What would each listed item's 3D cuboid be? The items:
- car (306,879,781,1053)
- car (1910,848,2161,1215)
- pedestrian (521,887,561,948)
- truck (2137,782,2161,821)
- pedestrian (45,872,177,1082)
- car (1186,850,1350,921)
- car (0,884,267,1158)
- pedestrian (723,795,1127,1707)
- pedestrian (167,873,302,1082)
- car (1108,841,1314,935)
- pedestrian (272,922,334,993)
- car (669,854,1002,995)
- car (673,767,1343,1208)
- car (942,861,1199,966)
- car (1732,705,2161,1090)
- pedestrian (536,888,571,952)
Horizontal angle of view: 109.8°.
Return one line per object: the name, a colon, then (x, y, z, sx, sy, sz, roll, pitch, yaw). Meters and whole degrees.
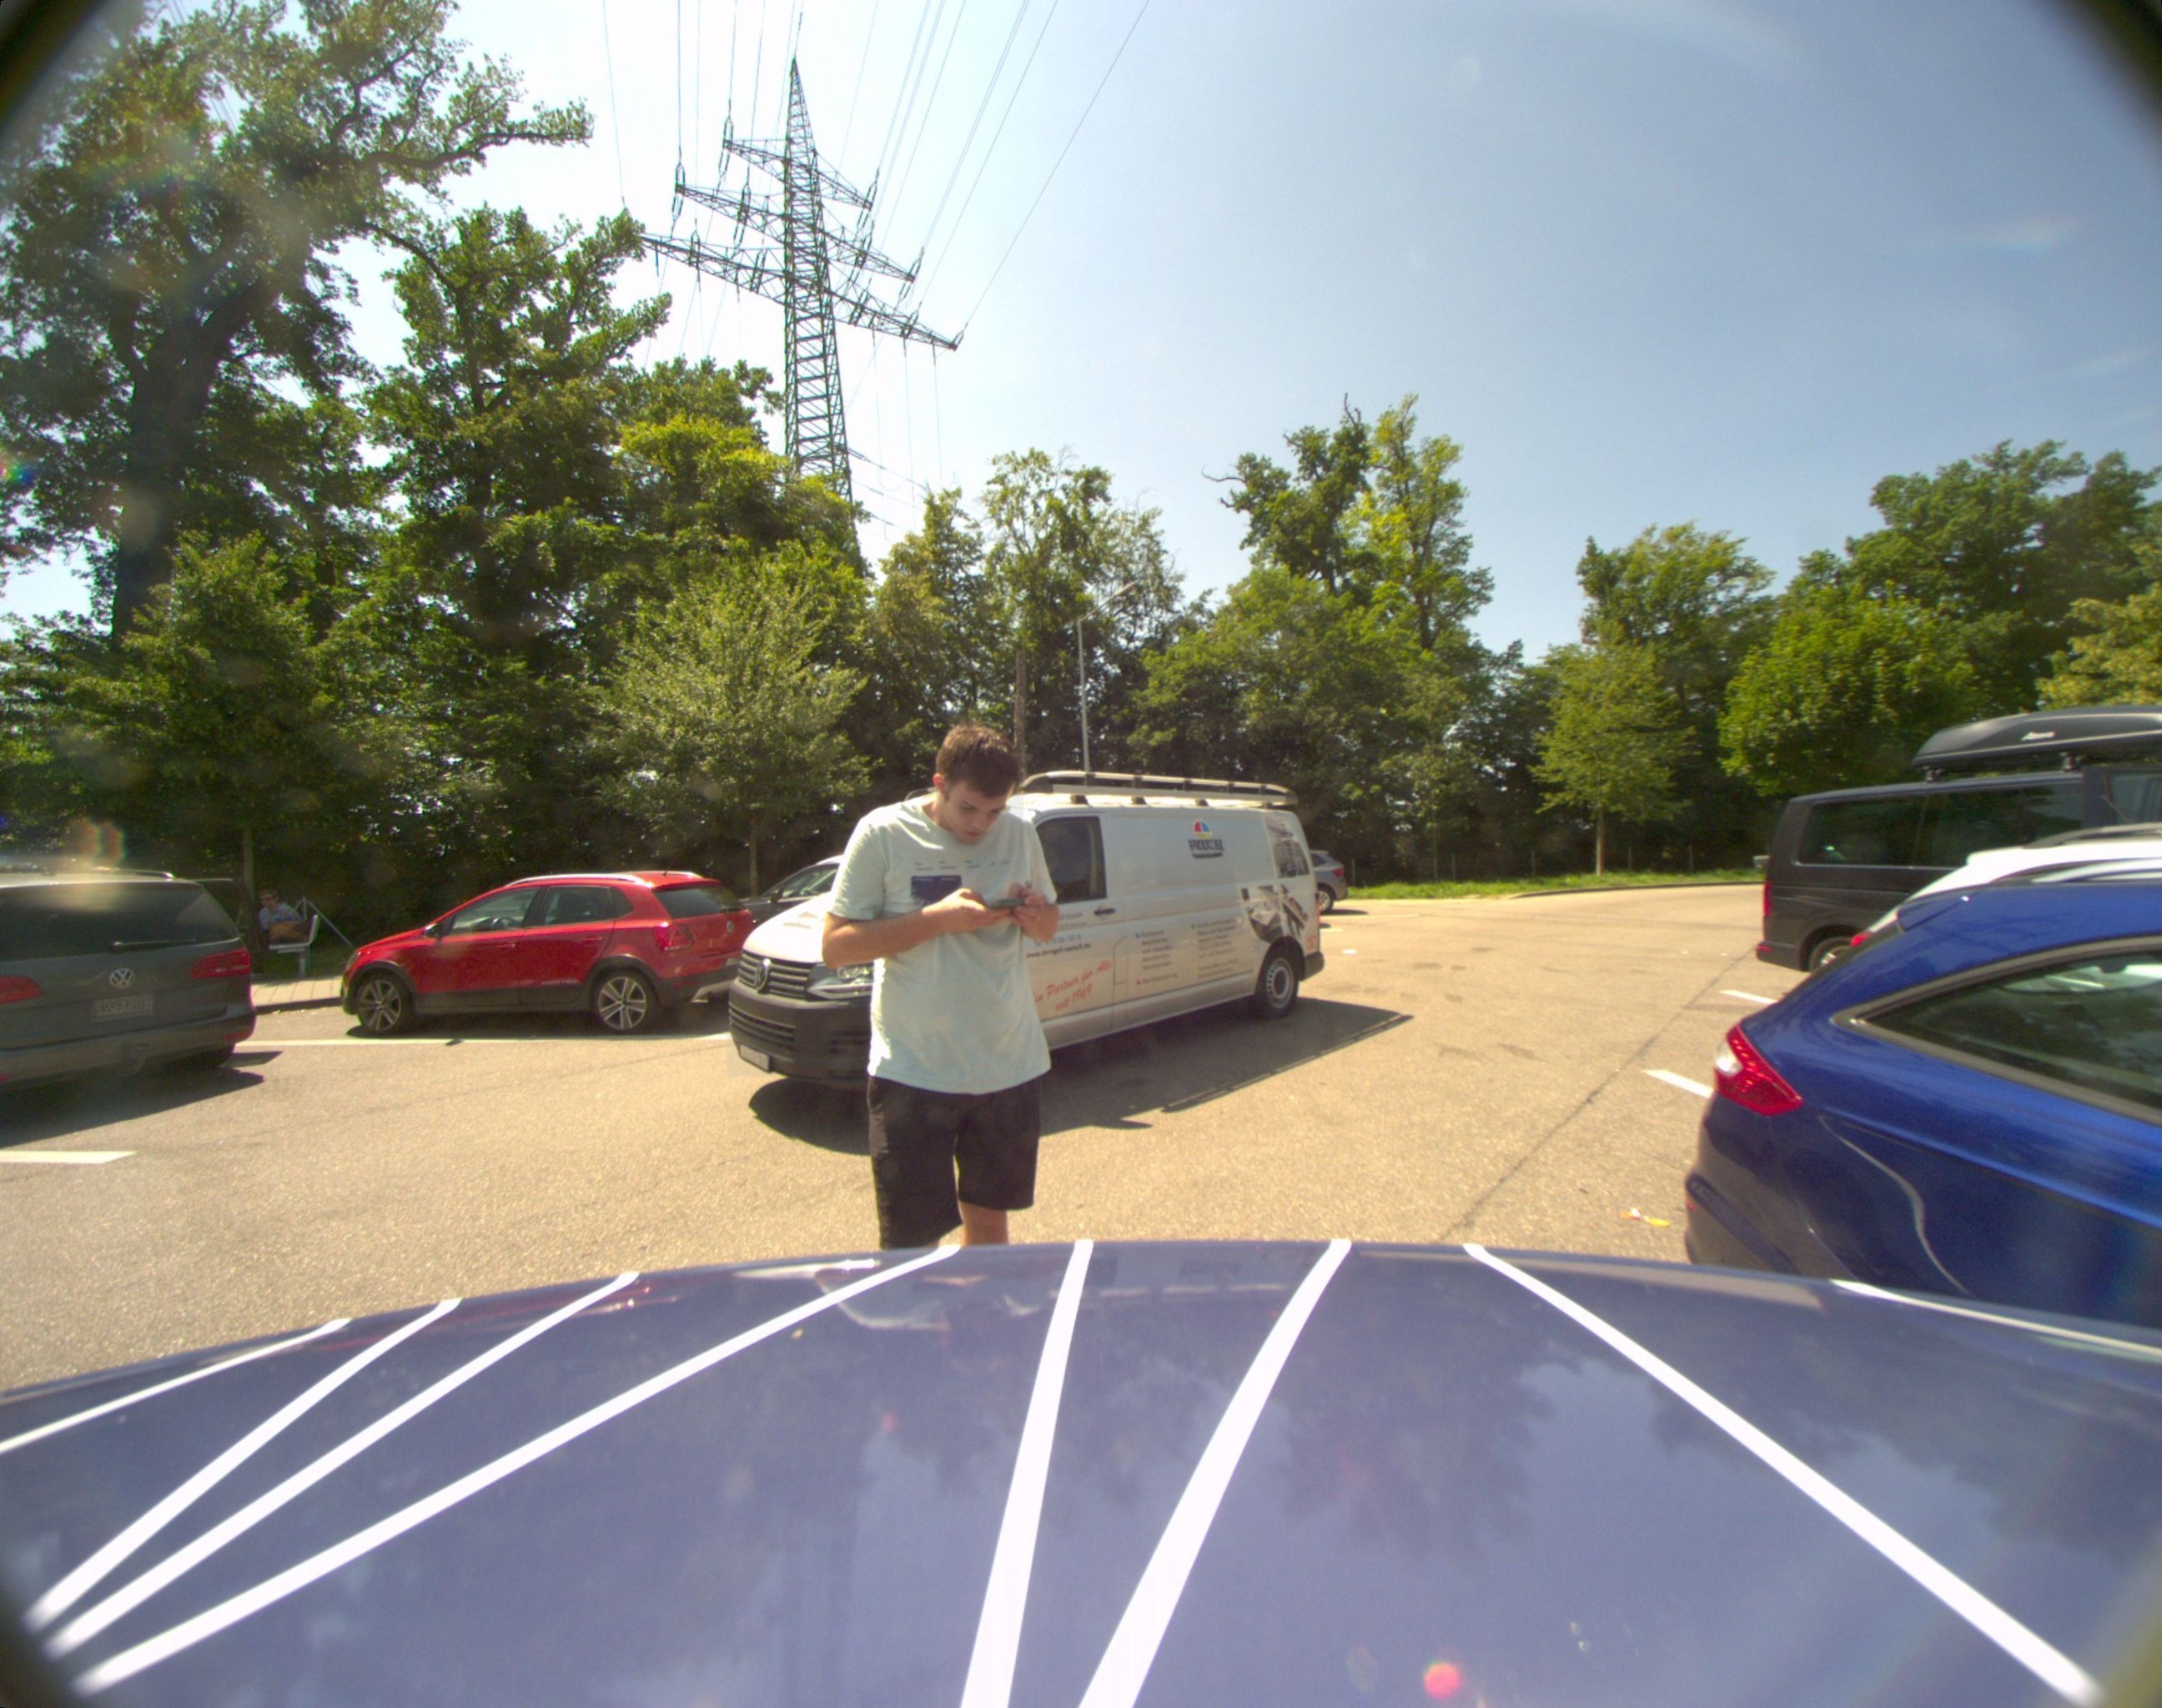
car: (-5.237, 1.065, 7.669, 3.745, 1.458, 1.621, -2, 0, 7)
car: (4.712, 0.656, 2.142, 1.344, 1.352, 3.114, -2, 0, 1)
pedestrian: (-10.909, 1.283, 15.357, 0.413, 1.186, 0.443, -2, 1, 12)
truck: (40.255, -1.963, 27.044, 1.168, 1.367, 2.882, -2, -1, -19)
pedestrian: (-8.354, 1.031, 6.558, 0.436, 1.712, 0.511, -2, 1, 17)
car: (4.346, 0.731, 18.132, 3.585, 1.493, 1.707, -2, 1, 8)
car: (-8.453, 1.116, 5.435, 3.903, 1.607, 1.705, -2, 1, 11)
pedestrian: (-0.398, 0.798, 1.877, 0.741, 1.818, 0.613, -2, 0, -34)
pedestrian: (-7.394, 1.042, 6.652, 0.481, 1.712, 0.589, -2, 1, 22)
car: (2.543, 0.648, 15.405, 3.850, 1.678, 1.755, -2, 0, 4)
pedestrian: (-10.784, 1.422, 10.544, 0.503, 0.874, 0.512, -3, 1, -39)
car: (-3.125, 0.884, 10.232, 3.866, 1.607, 1.709, -2, 0, 0)
car: (-0.028, 0.601, 6.170, 5.445, 2.092, 1.839, -1, 1, -45)
car: (-0.104, 0.900, 12.144, 3.773, 1.445, 1.848, -2, 0, 4)
car: (7.287, 0.246, 5.254, 1.788, 2.304, 4.084, -2, 0, -5)
pedestrian: (-10.167, 1.261, 14.641, 0.366, 1.186, 0.356, -2, 1, 21)
